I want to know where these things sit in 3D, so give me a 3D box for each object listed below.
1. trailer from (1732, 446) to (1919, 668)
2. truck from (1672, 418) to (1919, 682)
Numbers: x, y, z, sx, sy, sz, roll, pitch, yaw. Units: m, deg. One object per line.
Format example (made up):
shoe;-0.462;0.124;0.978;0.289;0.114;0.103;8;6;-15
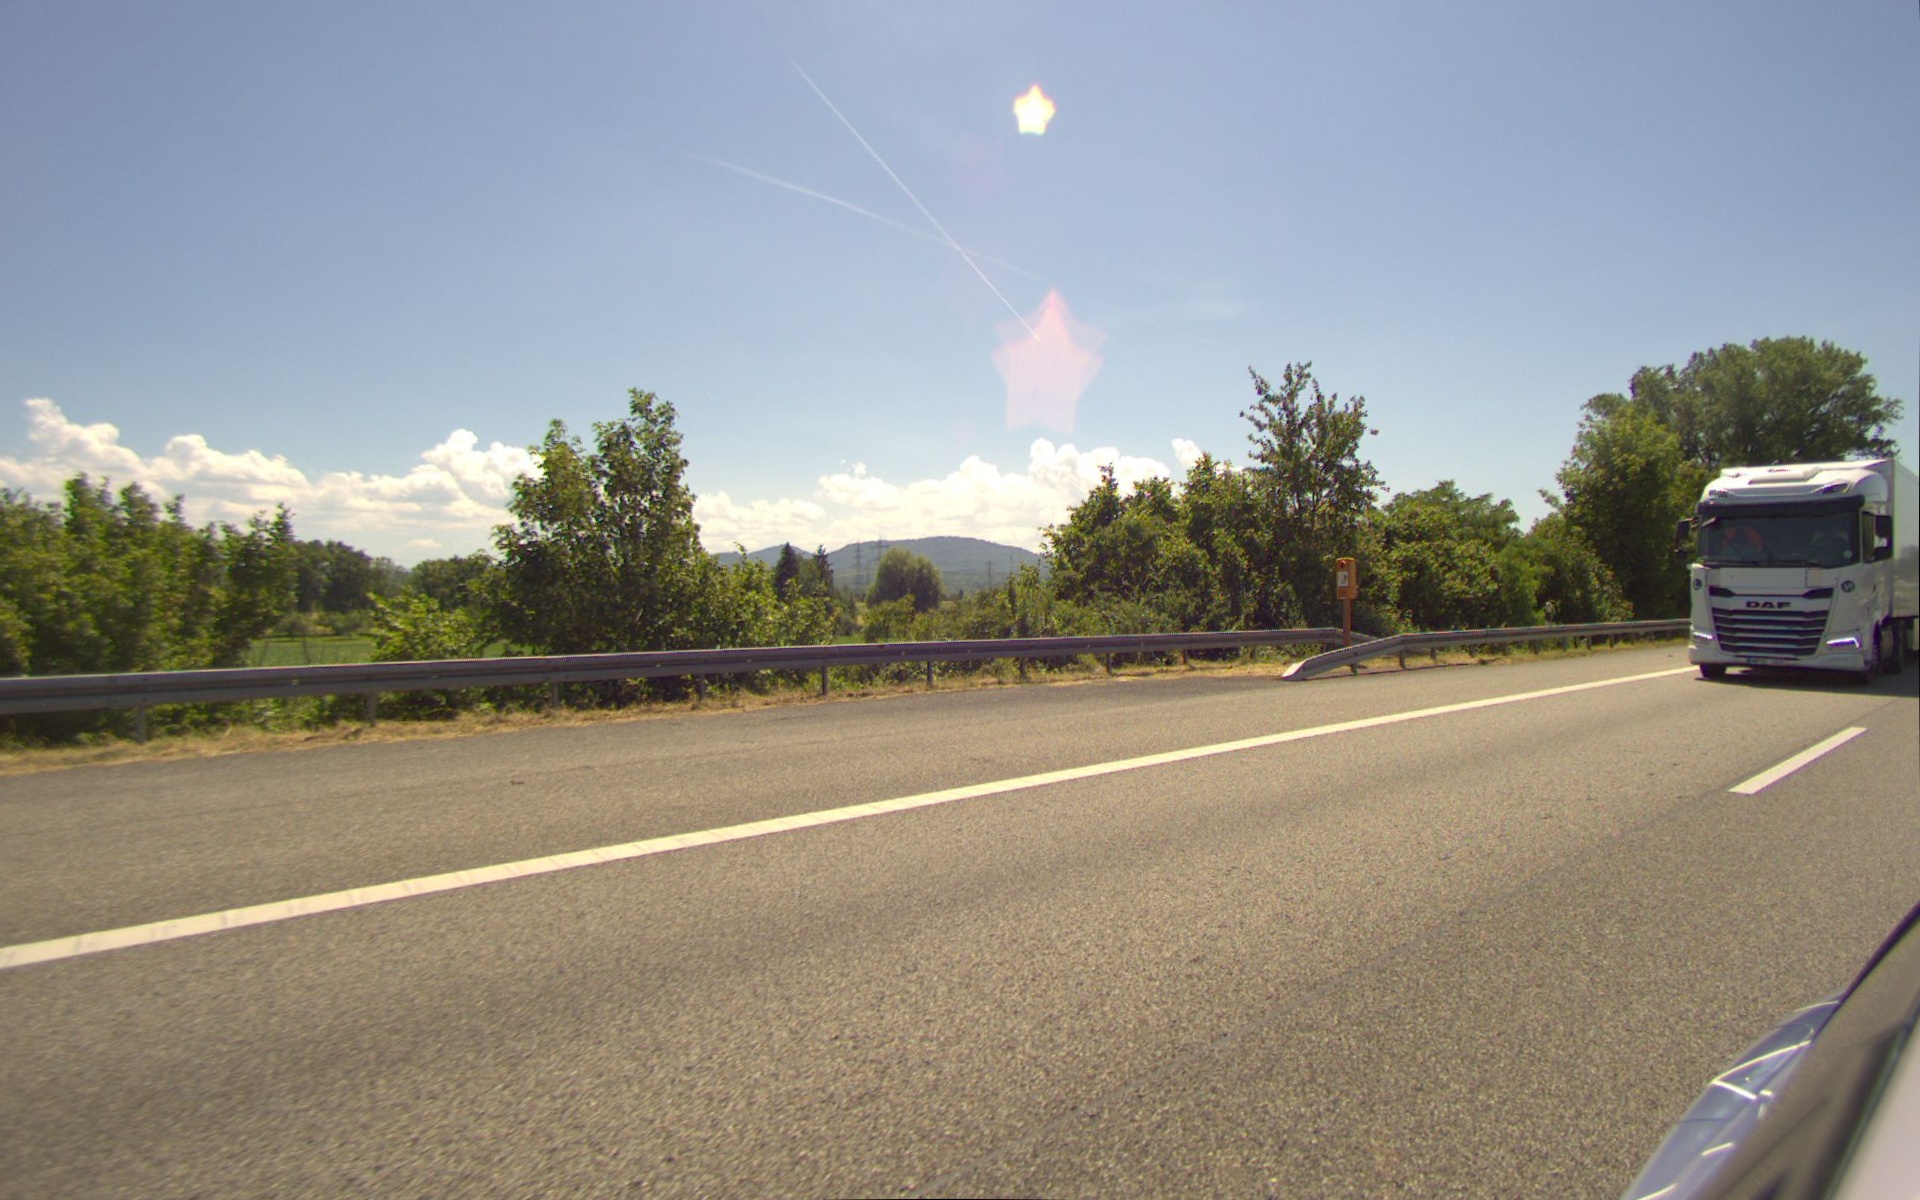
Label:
trailer;21.666;-0.854;24.156;12.317;4.158;2.963;0;0;-42
truck;16.001;-0.812;19.069;6.100;4.158;2.963;0;0;-42
